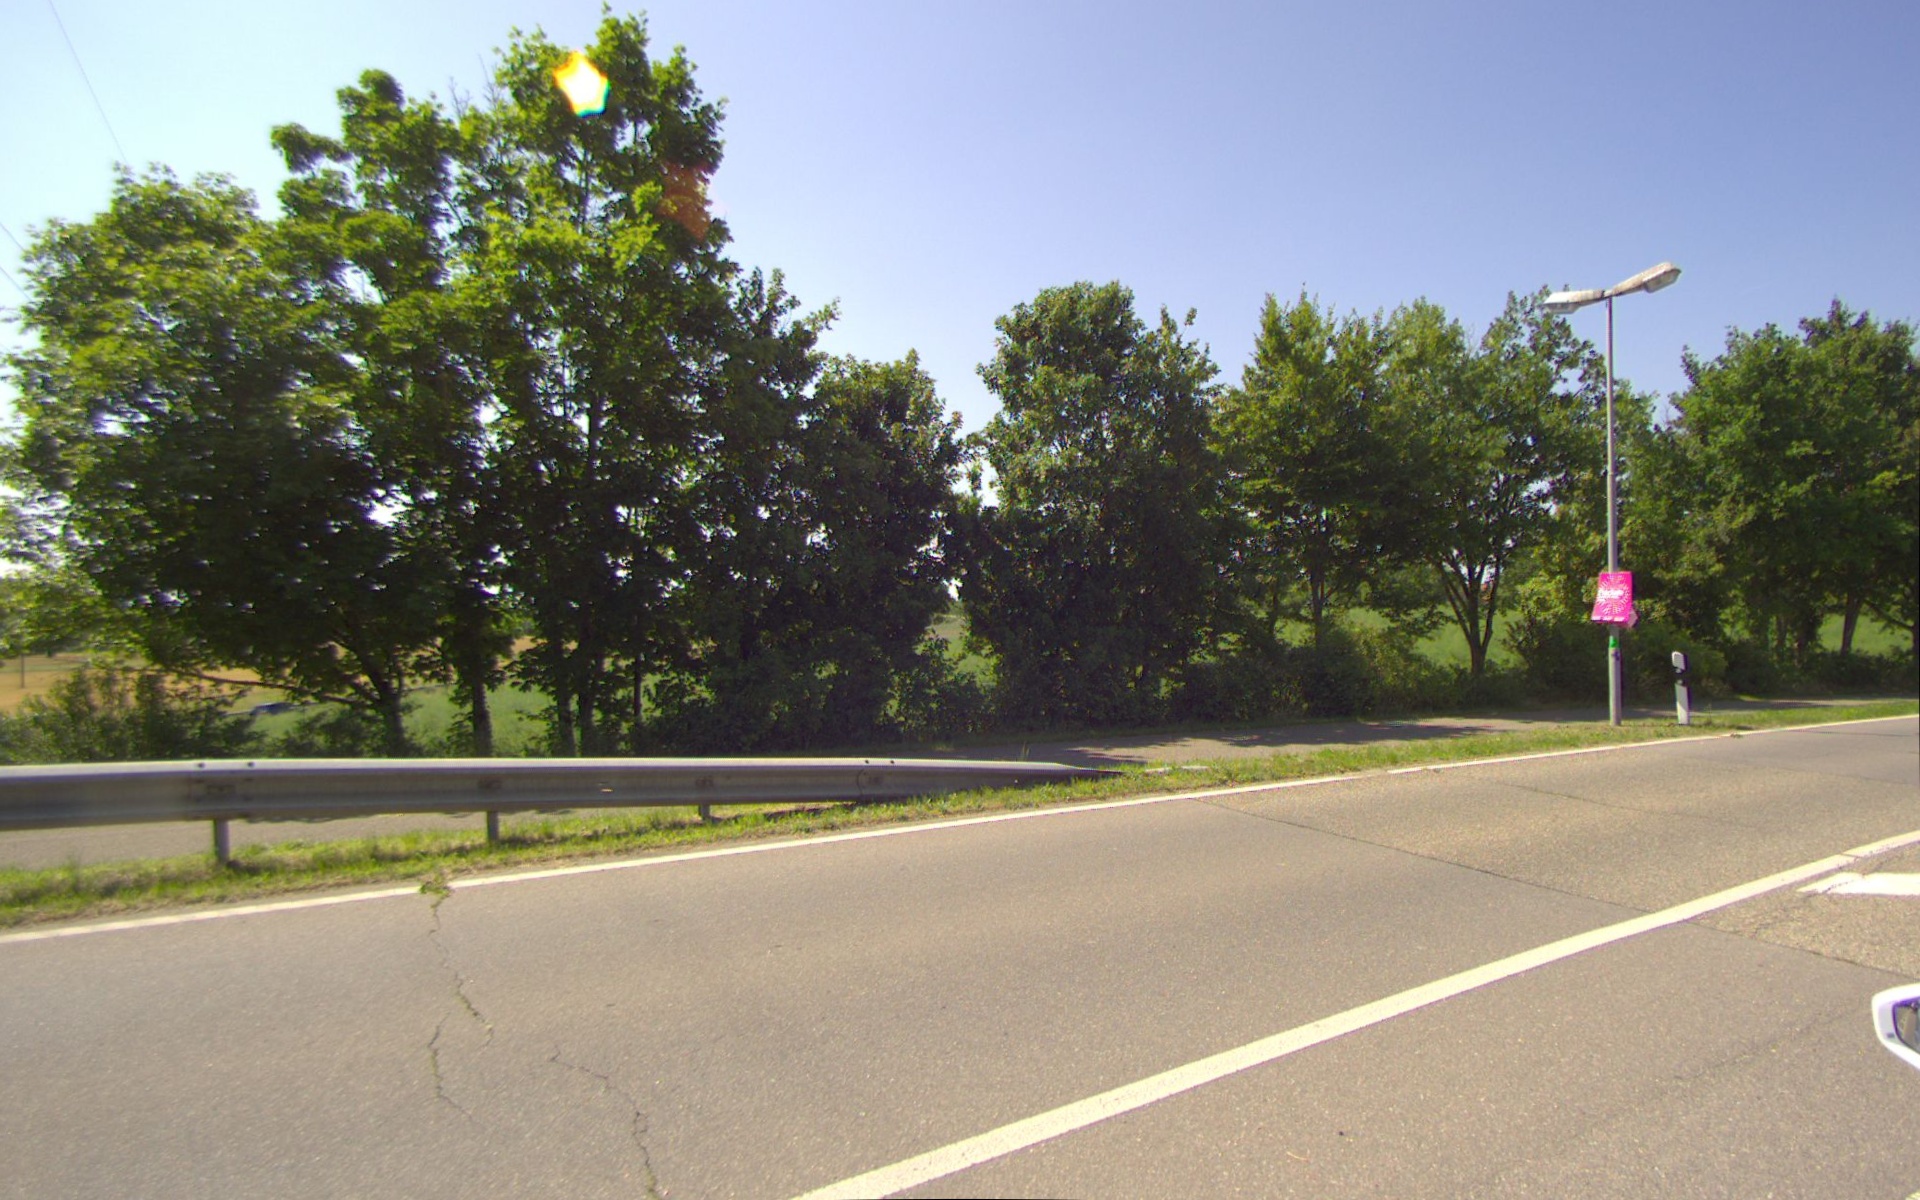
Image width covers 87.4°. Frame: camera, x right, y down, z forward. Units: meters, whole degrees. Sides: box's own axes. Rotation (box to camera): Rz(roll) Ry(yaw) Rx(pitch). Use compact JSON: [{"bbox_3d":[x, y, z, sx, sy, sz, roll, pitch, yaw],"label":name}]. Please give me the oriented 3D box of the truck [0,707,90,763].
[{"bbox_3d":[-54.068,7.782,57.855,1.960,2.356,6.530,1,1,4],"label":"truck"}]
